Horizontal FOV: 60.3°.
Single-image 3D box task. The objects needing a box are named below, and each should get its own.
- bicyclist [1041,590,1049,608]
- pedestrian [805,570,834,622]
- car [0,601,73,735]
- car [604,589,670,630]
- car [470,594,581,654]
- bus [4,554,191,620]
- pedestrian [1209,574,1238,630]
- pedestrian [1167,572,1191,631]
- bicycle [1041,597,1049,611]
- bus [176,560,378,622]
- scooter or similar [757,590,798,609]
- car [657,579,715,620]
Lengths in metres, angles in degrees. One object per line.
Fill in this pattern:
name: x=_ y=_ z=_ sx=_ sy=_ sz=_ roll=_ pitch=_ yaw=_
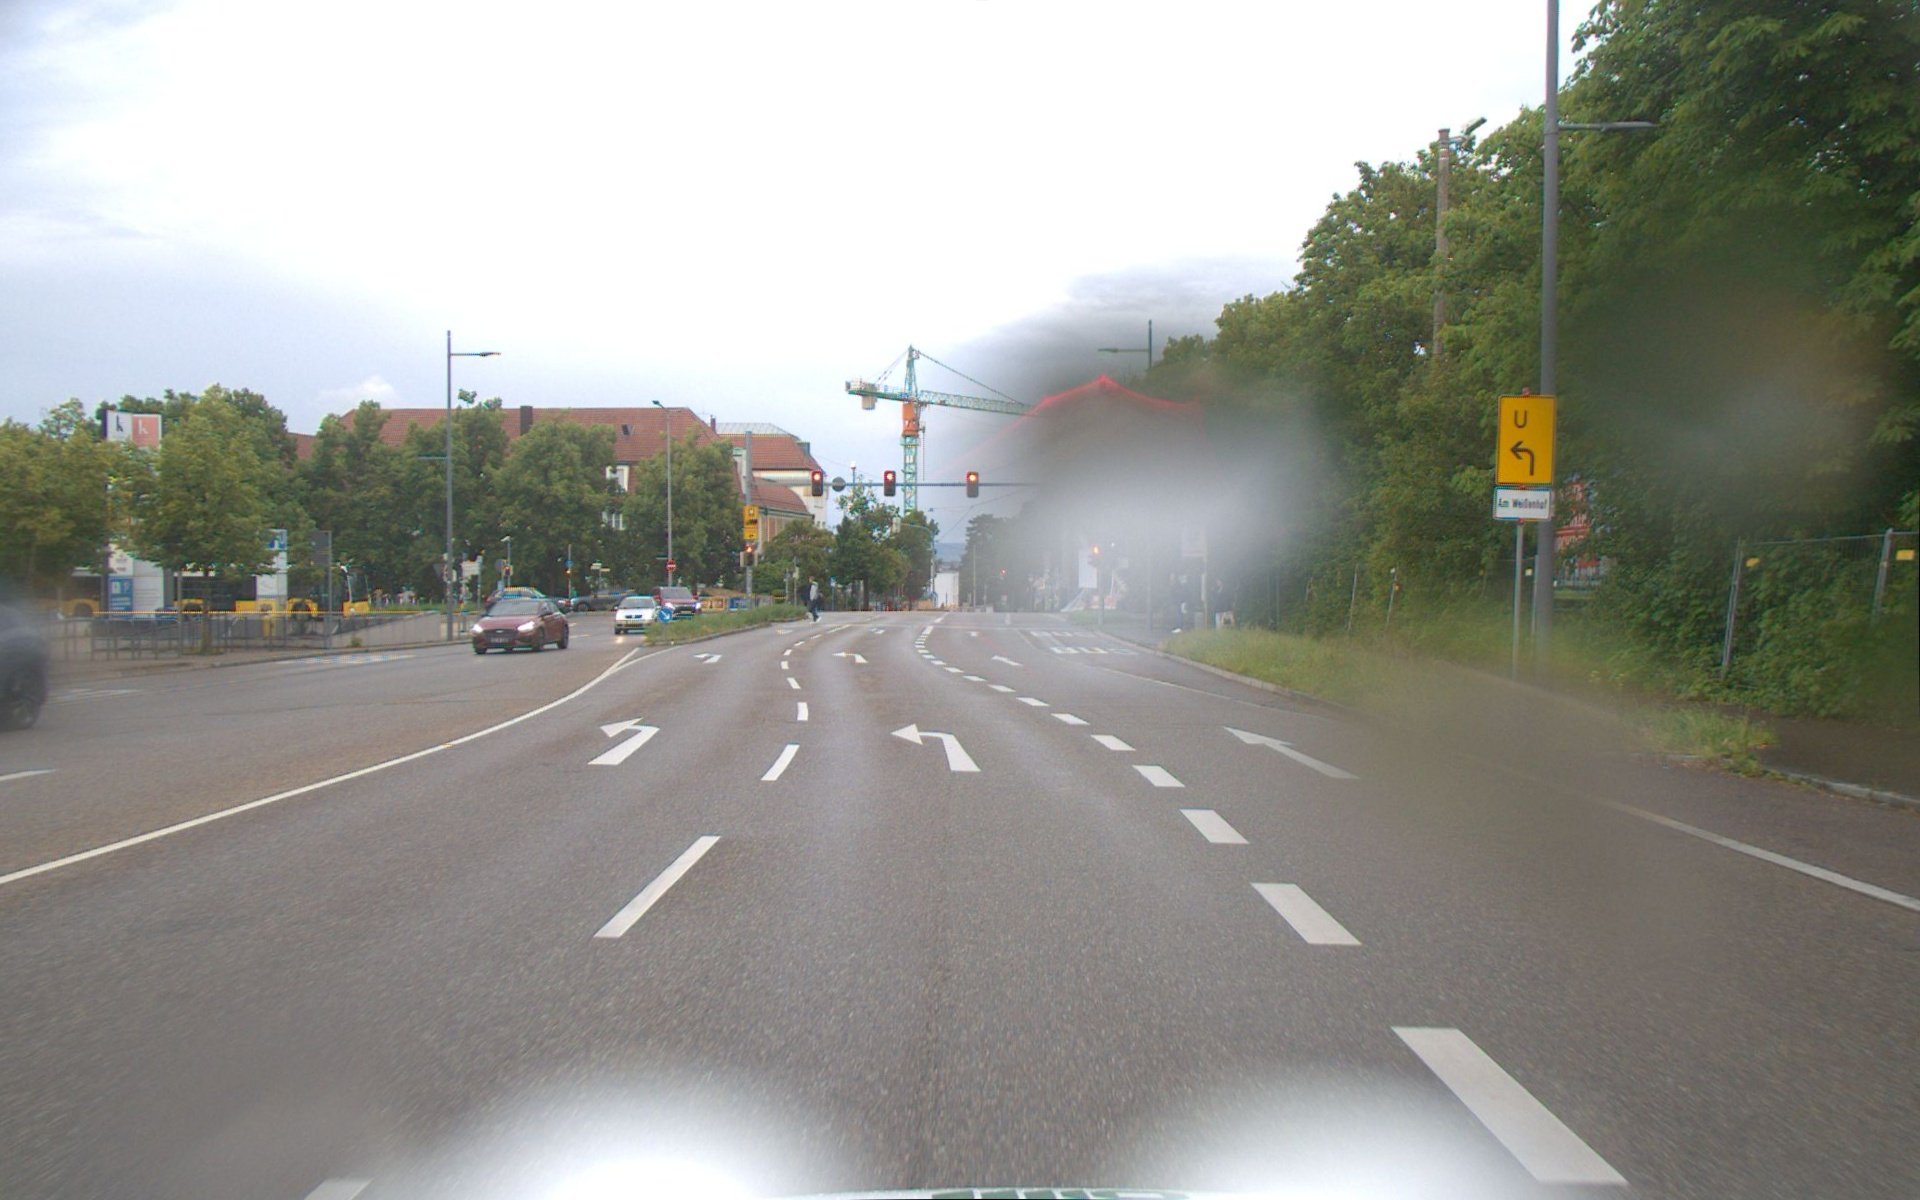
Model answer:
bicyclist: x=7.646 y=-0.054 z=148.869 sx=0.705 sy=1.591 sz=1.143 roll=1 pitch=-1 yaw=2
pedestrian: x=-5.692 y=-0.182 z=67.007 sx=0.920 sy=2.048 sz=0.848 roll=-3 pitch=0 yaw=5
car: x=-12.359 y=0.849 z=19.007 sx=1.794 sy=1.599 sz=4.593 roll=-3 pitch=0 yaw=0
car: x=-12.459 y=0.354 z=63.969 sx=1.726 sy=1.441 sz=3.879 roll=-3 pitch=1 yaw=0
car: x=-11.878 y=0.628 z=45.489 sx=1.794 sy=1.441 sz=4.466 roll=-3 pitch=1 yaw=0
bus: x=-45.985 y=-0.707 z=88.324 sx=8.373 sy=3.365 sz=2.897 roll=-1 pitch=1 yaw=-1
pedestrian: x=7.949 y=0.058 z=49.945 sx=0.662 sy=1.687 sz=0.792 roll=-1 pitch=1 yaw=-5
pedestrian: x=7.228 y=0.054 z=54.519 sx=0.628 sy=1.934 sz=0.717 roll=-1 pitch=1 yaw=-5
bicycle: x=7.635 y=0.402 z=148.872 sx=0.705 sy=1.214 sz=1.756 roll=1 pitch=-1 yaw=2
bus: x=-36.266 y=-0.483 z=87.977 sx=9.523 sy=3.157 sz=2.898 roll=-1 pitch=1 yaw=1
scooter or similar: x=-14.012 y=-0.050 z=127.066 sx=3.025 sy=1.465 sz=0.948 roll=-1 pitch=1 yaw=-2
car: x=-12.508 y=-0.047 z=75.810 sx=1.815 sy=1.712 sz=4.738 roll=-3 pitch=1 yaw=0
